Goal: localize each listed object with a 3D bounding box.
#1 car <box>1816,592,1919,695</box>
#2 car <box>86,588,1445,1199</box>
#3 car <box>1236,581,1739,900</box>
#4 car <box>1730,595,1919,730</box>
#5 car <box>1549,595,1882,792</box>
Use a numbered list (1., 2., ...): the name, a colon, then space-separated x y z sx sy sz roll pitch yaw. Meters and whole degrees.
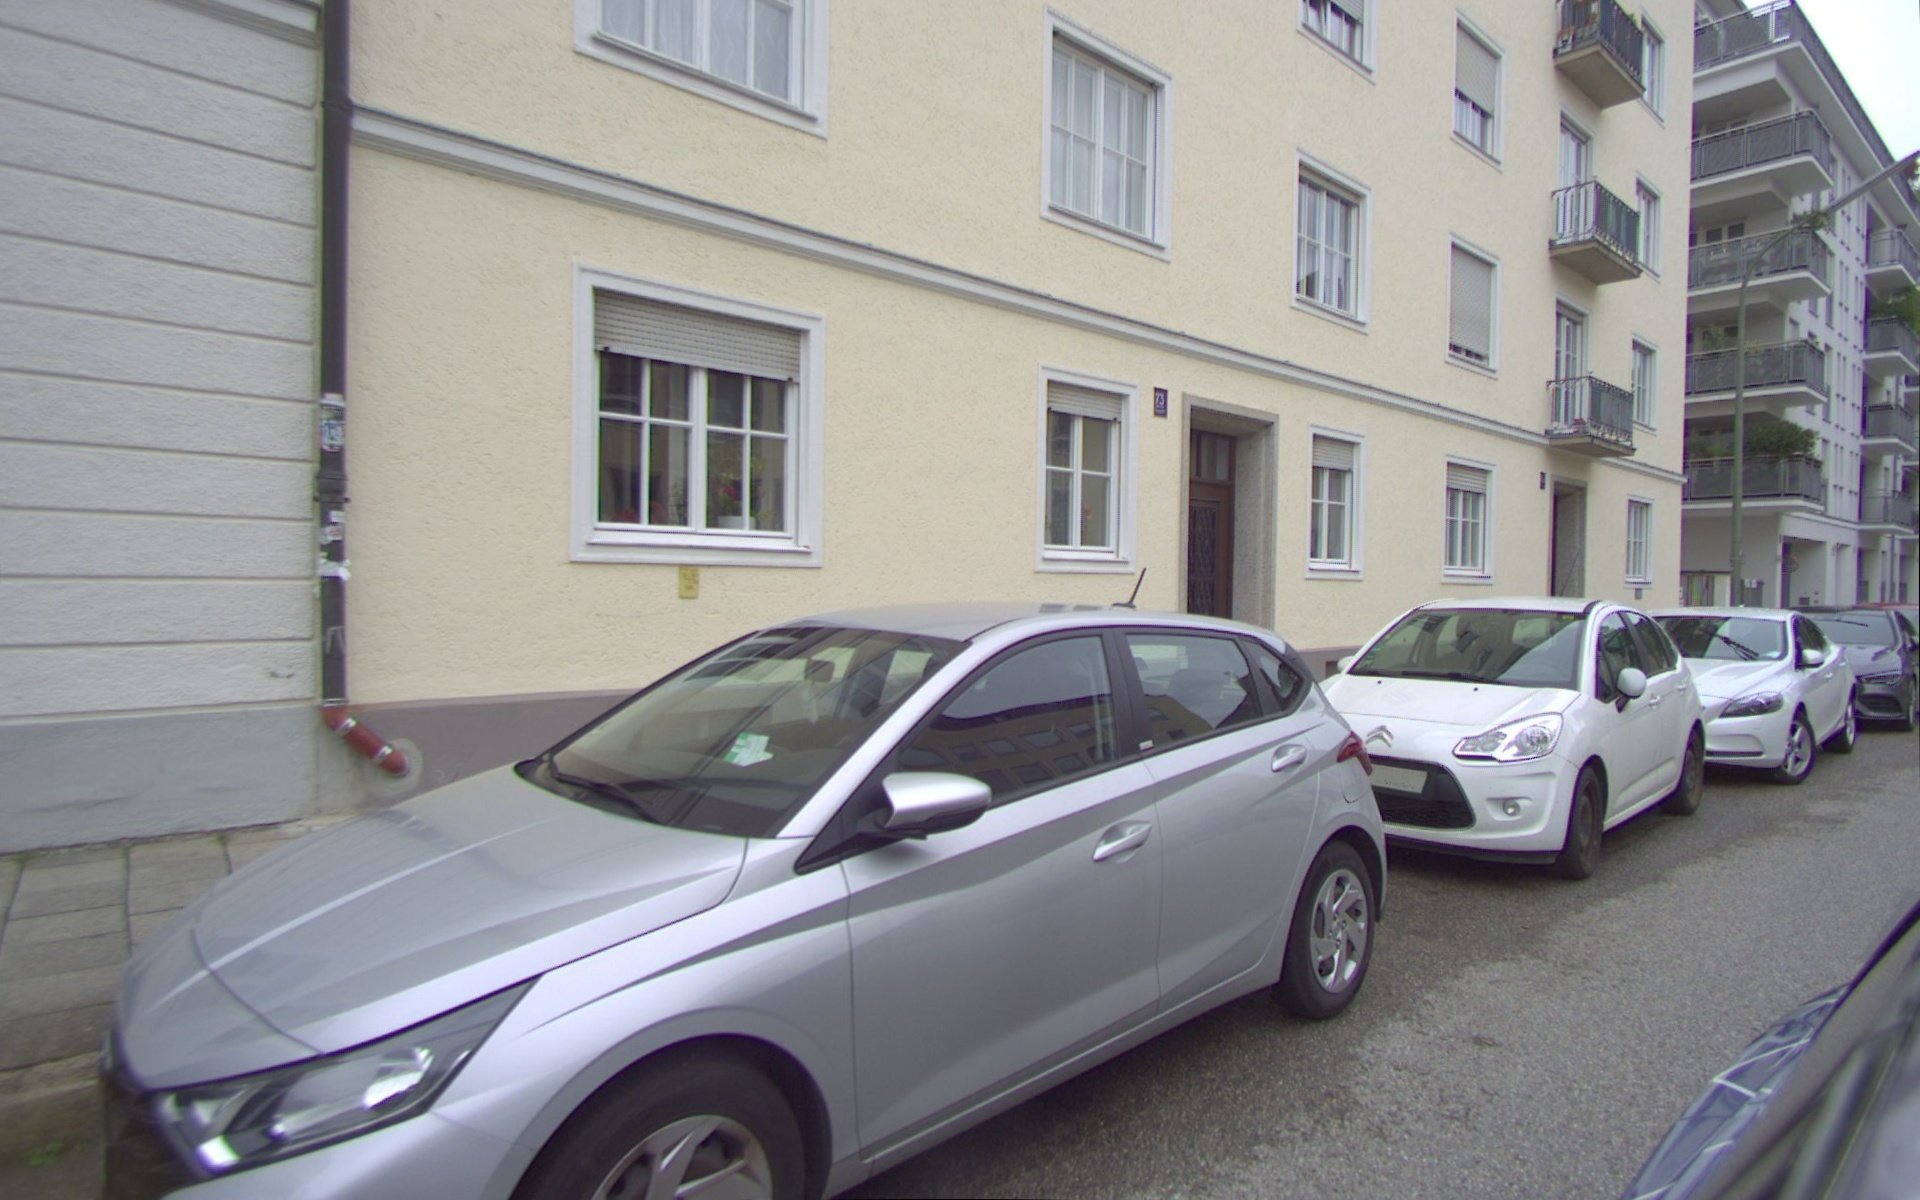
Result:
1. car: 15.502 0.644 16.608 3.757 1.516 1.682 0 1 -41
2. car: -0.137 0.696 3.304 4.096 1.445 1.681 0 1 -42
3. car: 3.727 0.642 6.799 4.096 1.500 1.681 0 1 -42
4. car: 11.530 0.667 13.085 4.345 1.427 1.682 0 1 -41
5. car: 7.317 0.690 9.623 4.366 1.427 1.682 0 1 -41
